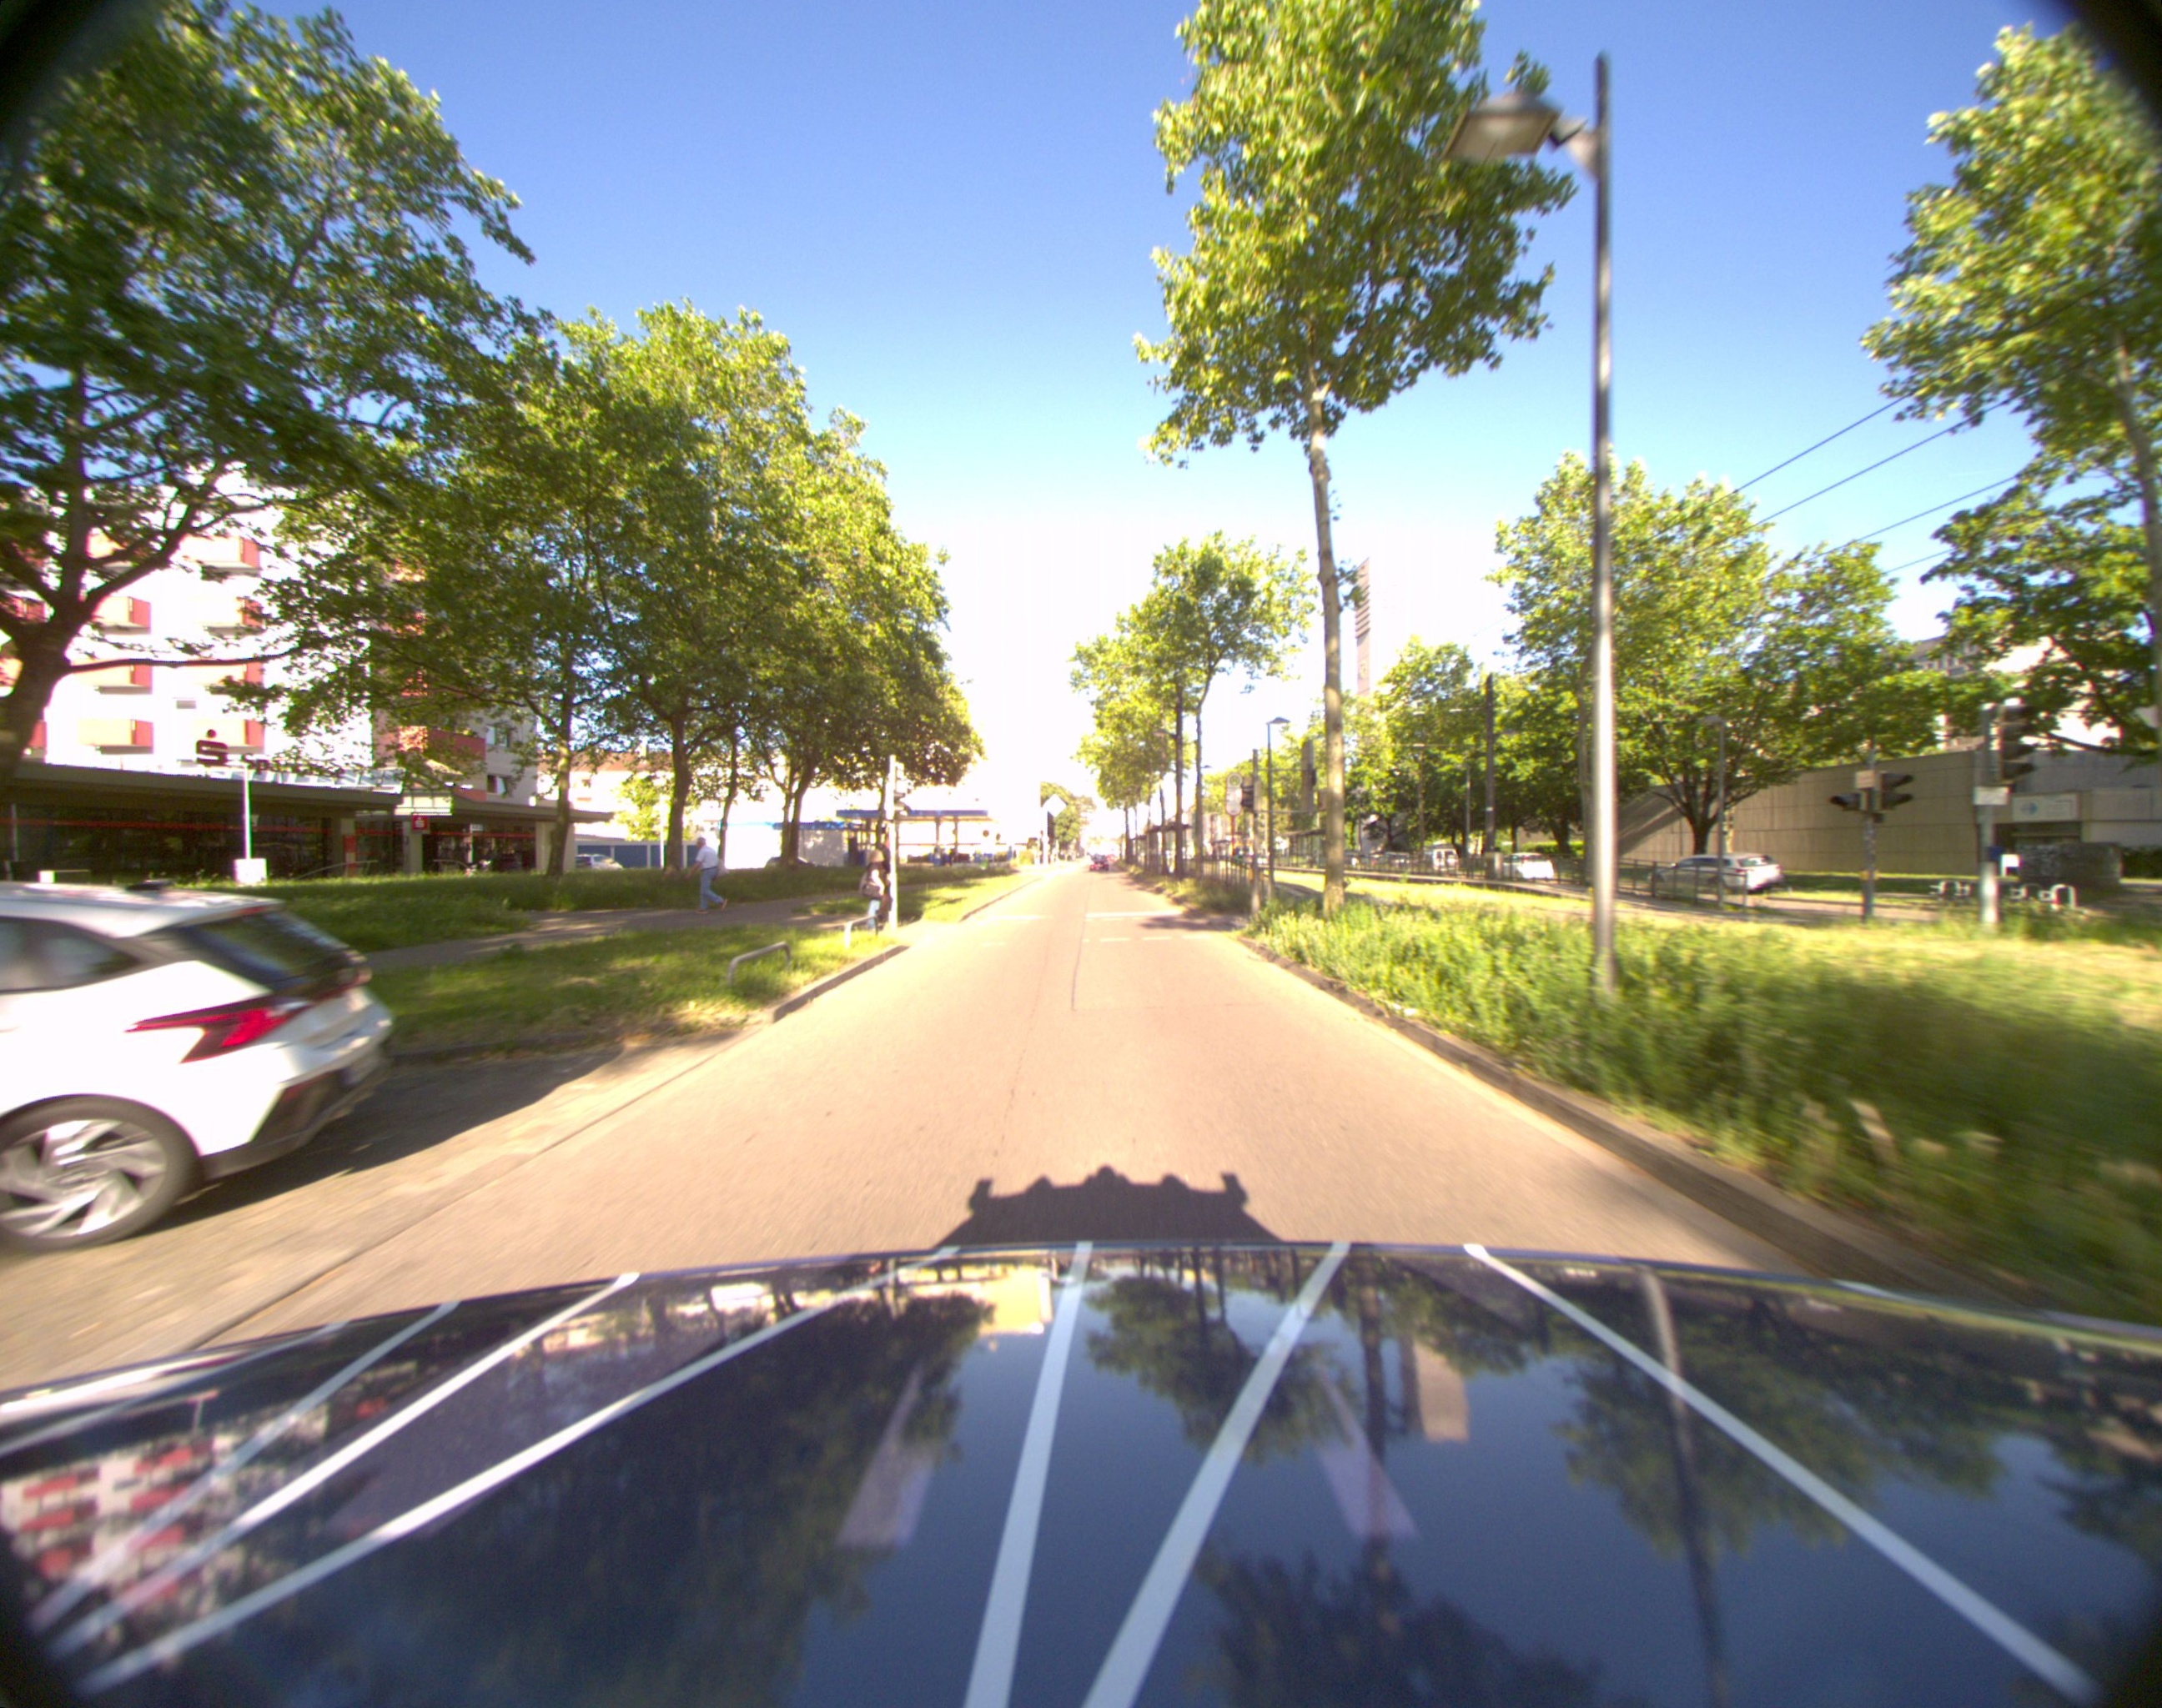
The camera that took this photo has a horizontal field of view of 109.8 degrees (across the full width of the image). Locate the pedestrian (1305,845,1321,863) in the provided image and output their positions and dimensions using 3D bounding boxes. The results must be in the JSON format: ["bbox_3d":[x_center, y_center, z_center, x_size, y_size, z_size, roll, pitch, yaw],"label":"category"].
[{"bbox_3d":[16.122,-0.016,52.751,0.838,1.253,0.801,-1,1,30],"label":"pedestrian"}]

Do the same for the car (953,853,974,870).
[{"bbox_3d":[-10.772,0.669,69.975,1.725,1.455,4.003,0,1,-6],"label":"car"}]

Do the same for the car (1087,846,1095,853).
[{"bbox_3d":[2.644,-1.256,201.188,1.998,1.806,4.000,-2,1,1],"label":"car"}]

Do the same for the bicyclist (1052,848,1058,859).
[{"bbox_3d":[-3.697,-0.063,108.068,0.678,1.466,0.936,-1,1,2],"label":"bicyclist"}]

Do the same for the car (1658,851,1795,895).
[{"bbox_3d":[24.268,0.667,28.787,1.718,1.537,4.200,0,1,3],"label":"car"}]

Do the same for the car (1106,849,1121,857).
[{"bbox_3d":[6.149,-0.240,144.359,1.545,1.522,3.596,-3,2,-19],"label":"car"}]

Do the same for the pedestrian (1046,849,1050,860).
[{"bbox_3d":[-4.803,0.079,110.308,0.505,1.537,0.518,1,2,-16],"label":"pedestrian"}]

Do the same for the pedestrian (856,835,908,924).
[{"bbox_3d":[-4.316,0.540,16.529,0.799,1.874,0.928,-1,1,5],"label":"pedestrian"}]

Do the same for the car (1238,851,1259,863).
[{"bbox_3d":[19.735,0.335,89.664,1.609,1.419,3.536,0,1,-1],"label":"car"}]

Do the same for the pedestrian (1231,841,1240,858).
[{"bbox_3d":[16.297,-0.465,80.129,0.722,1.856,0.637,-1,1,2],"label":"pedestrian"}]

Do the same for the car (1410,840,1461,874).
[{"bbox_3d":[24.332,0.185,52.287,1.718,2.249,3.933,0,1,1],"label":"car"}]

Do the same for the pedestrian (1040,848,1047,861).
[{"bbox_3d":[-5.442,0.098,110.141,0.790,1.817,1.032,1,2,-16],"label":"pedestrian"}]

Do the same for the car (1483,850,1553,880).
[{"bbox_3d":[23.735,0.569,41.427,1.717,1.537,3.934,0,1,4],"label":"car"}]

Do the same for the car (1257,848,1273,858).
[{"bbox_3d":[23.804,-0.182,98.258,1.266,1.234,3.376,0,1,0],"label":"car"}]

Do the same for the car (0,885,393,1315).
[{"bbox_3d":[-5.485,0.892,2.847,4.005,1.461,1.756,2,0,-30],"label":"car"}]

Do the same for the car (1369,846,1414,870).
[{"bbox_3d":[21.291,0.256,52.233,1.718,1.537,3.934,0,1,3],"label":"car"}]

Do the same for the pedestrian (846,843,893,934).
[{"bbox_3d":[-4.122,0.651,14.805,0.714,1.696,0.652,0,2,-33],"label":"pedestrian"}]

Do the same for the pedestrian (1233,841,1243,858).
[{"bbox_3d":[16.386,-0.459,79.372,0.885,1.680,0.754,-1,1,2],"label":"pedestrian"}]

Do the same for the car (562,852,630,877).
[{"bbox_3d":[-32.438,0.672,50.923,1.874,1.495,4.113,-1,1,0],"label":"car"}]

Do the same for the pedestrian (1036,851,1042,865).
[{"bbox_3d":[-4.959,0.471,89.499,0.605,1.692,0.552,-1,1,5],"label":"pedestrian"}]

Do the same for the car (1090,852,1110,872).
[{"bbox_3d":[1.664,0.672,65.100,1.619,1.537,4.277,-1,1,2],"label":"car"}]

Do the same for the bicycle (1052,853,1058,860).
[{"bbox_3d":[-3.690,0.314,108.008,0.684,0.925,1.736,0,1,1],"label":"bicycle"}]

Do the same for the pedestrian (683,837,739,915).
[{"bbox_3d":[-8.302,0.483,17.077,0.844,1.712,0.830,0,1,-2],"label":"pedestrian"}]
